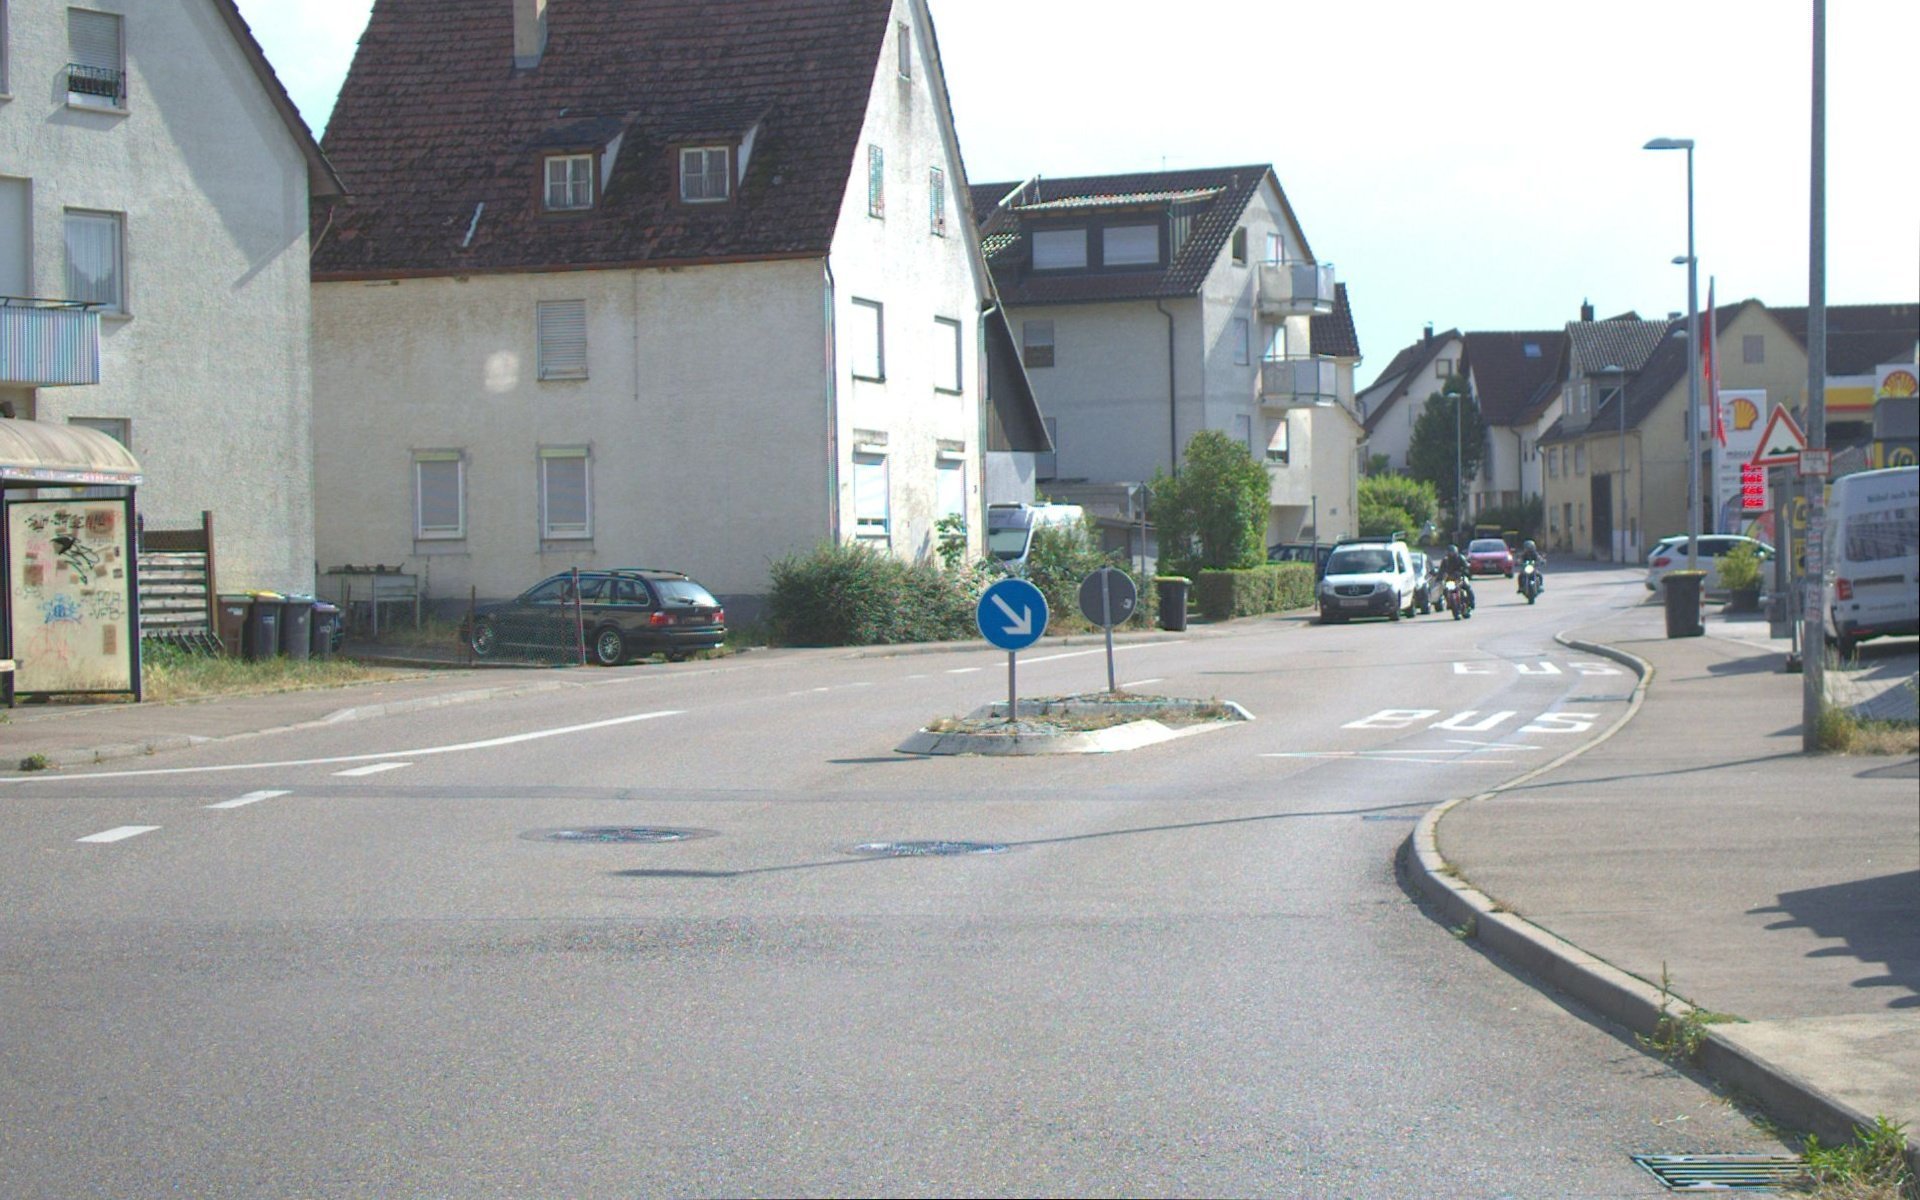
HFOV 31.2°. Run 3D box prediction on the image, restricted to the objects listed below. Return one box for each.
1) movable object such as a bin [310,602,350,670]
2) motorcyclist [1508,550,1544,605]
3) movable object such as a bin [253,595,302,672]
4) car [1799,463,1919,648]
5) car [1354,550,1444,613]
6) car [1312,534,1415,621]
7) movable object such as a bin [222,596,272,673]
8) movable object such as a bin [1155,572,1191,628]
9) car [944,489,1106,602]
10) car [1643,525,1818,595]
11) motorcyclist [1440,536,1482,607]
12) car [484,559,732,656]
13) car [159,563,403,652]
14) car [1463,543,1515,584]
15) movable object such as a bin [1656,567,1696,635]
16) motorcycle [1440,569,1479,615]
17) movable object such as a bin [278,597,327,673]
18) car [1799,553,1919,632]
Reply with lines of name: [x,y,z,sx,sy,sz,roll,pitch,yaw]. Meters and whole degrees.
movable object such as a bin: [-8.654,0.495,47.229,0.362,0.922,0.399,-1,-1,31]
motorcyclist: [14.649,-0.586,88.945,0.803,1.431,1.036,1,1,15]
movable object such as a bin: [-9.172,0.450,46.196,0.362,1.038,0.557,-1,-1,30]
car: [12.654,-0.616,47.160,1.837,2.367,5.176,-1,1,10]
car: [10.652,-0.464,83.269,1.674,1.446,3.832,-1,1,15]
car: [9.216,-0.541,78.287,1.717,1.866,4.189,-2,1,15]
movable object such as a bin: [-9.483,0.455,45.723,0.362,1.012,0.557,-1,-1,30]
movable object such as a bin: [4.232,-0.004,68.314,0.611,1.097,0.575,0,0,14]
car: [1.607,-1.310,81.818,2.160,2.587,6.089,0,1,18]
car: [18.248,-0.947,81.423,3.989,1.603,1.999,0,1,14]
motorcyclist: [11.077,-0.627,76.047,0.737,1.521,1.016,2,0,16]
car: [-5.618,0.096,54.605,3.997,1.428,1.649,1,2,41]
car: [-11.212,0.098,56.673,3.995,1.356,1.683,1,2,36]
car: [19.535,-1.344,127.098,1.709,1.430,3.779,-2,0,7]
movable object such as a bin: [11.570,0.015,55.552,0.567,1.071,0.572,-2,0,10]
motorcycle: [11.057,-0.180,76.074,0.538,1.009,2.026,2,1,16]
movable object such as a bin: [-8.939,0.478,46.767,0.362,1.019,0.576,-1,-1,30]
car: [18.929,-0.178,69.063,3.989,1.526,1.526,-1,1,14]
